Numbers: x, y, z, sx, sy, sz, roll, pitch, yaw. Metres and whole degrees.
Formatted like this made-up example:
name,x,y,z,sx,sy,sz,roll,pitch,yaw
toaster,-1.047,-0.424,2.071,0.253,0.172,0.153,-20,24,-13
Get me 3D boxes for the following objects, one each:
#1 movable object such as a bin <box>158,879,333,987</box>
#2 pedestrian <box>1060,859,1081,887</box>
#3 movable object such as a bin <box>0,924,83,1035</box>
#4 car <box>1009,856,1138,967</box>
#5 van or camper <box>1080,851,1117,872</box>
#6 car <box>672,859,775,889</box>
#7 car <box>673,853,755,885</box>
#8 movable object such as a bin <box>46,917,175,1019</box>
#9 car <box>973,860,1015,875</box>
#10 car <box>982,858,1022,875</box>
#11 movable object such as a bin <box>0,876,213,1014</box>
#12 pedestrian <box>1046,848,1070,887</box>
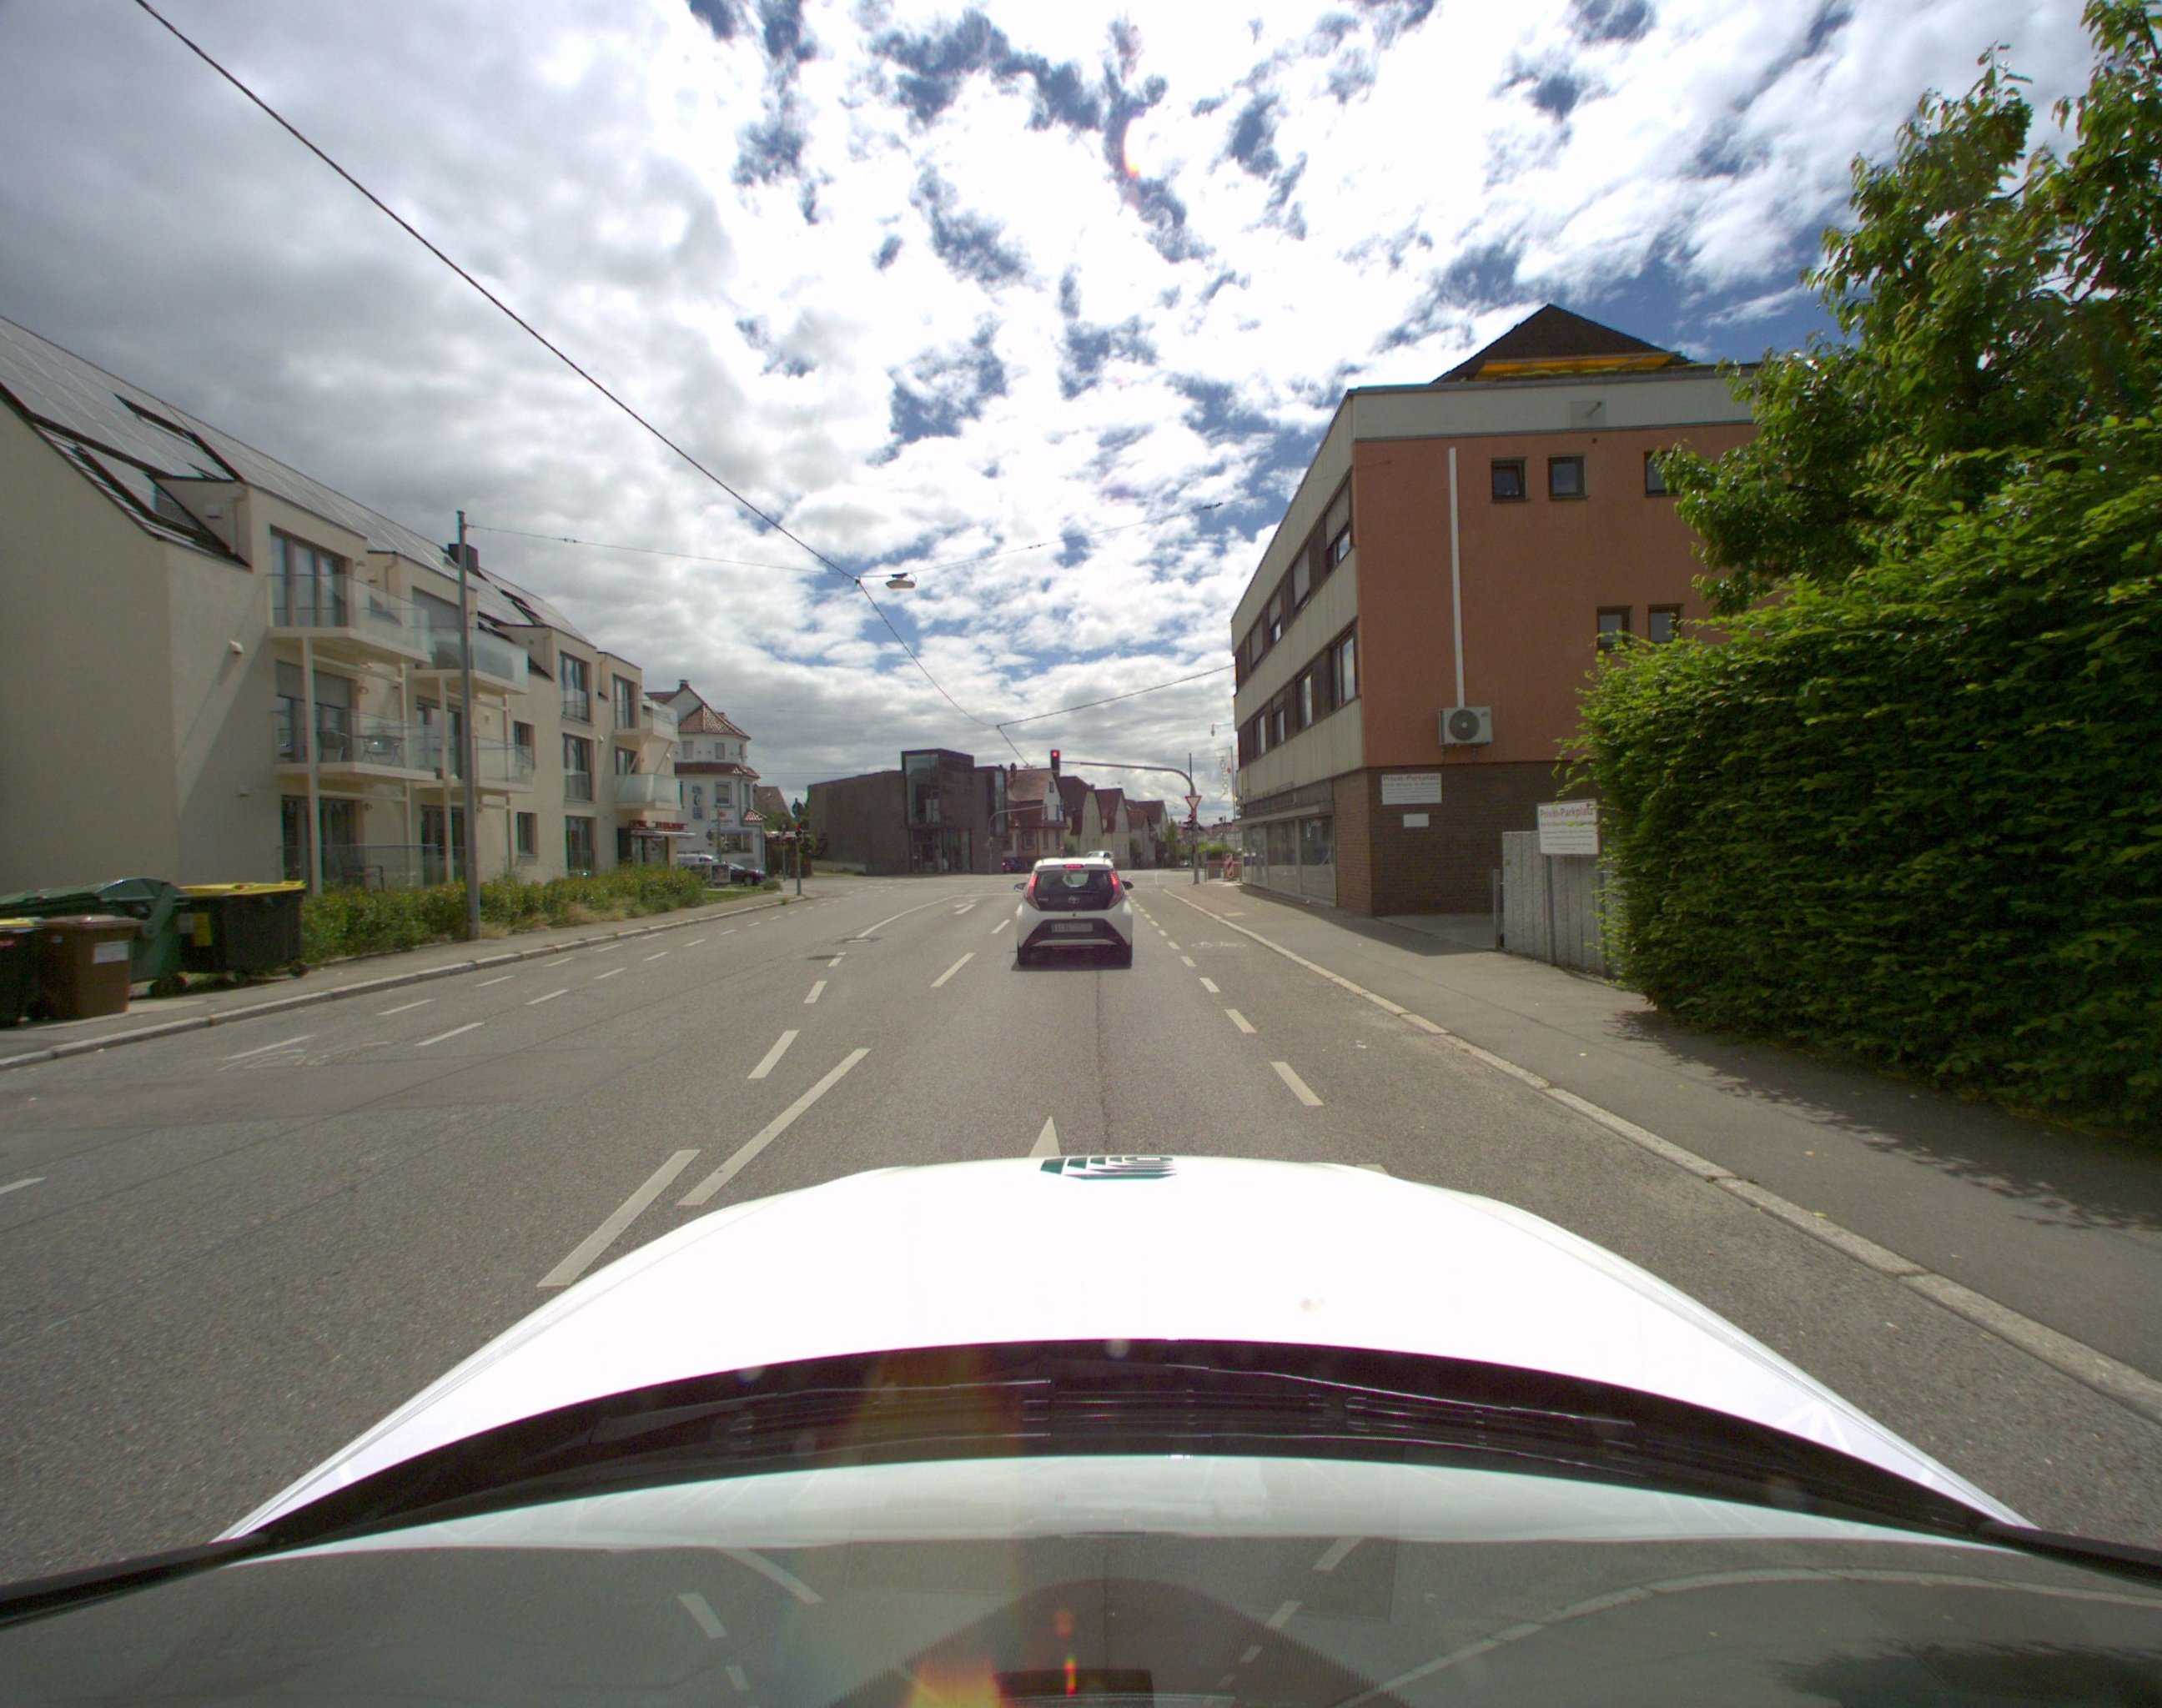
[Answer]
name,x,y,z,sx,sy,sz,roll,pitch,yaw
movable object such as a bin,-11.245,1.030,11.023,1.061,1.313,1.215,-2,0,3
pedestrian,-0.464,0.829,35.673,0.736,1.221,0.641,-1,0,-20
movable object such as a bin,-10.812,1.260,8.238,0.593,1.024,0.659,-2,0,1
car,-0.108,0.756,12.380,1.692,1.456,3.298,0,0,-1
van or camper,1.649,0.666,74.800,2.099,1.926,5.308,0,0,16
car,-19.960,1.088,45.649,4.891,1.577,1.995,0,0,-7
car,-21.851,0.857,48.674,4.060,1.849,1.993,0,0,-10
movable object such as a bin,-10.584,1.227,8.905,0.593,1.007,0.659,-2,0,1
car,-8.318,1.286,78.092,3.590,1.419,1.697,0,0,12
car,-7.767,1.201,80.333,3.590,1.605,1.697,0,0,12
movable object such as a bin,-11.627,1.039,9.780,1.062,1.482,1.214,-2,0,-1
pedestrian,-1.041,0.593,36.255,0.825,1.721,0.812,-1,0,-19
